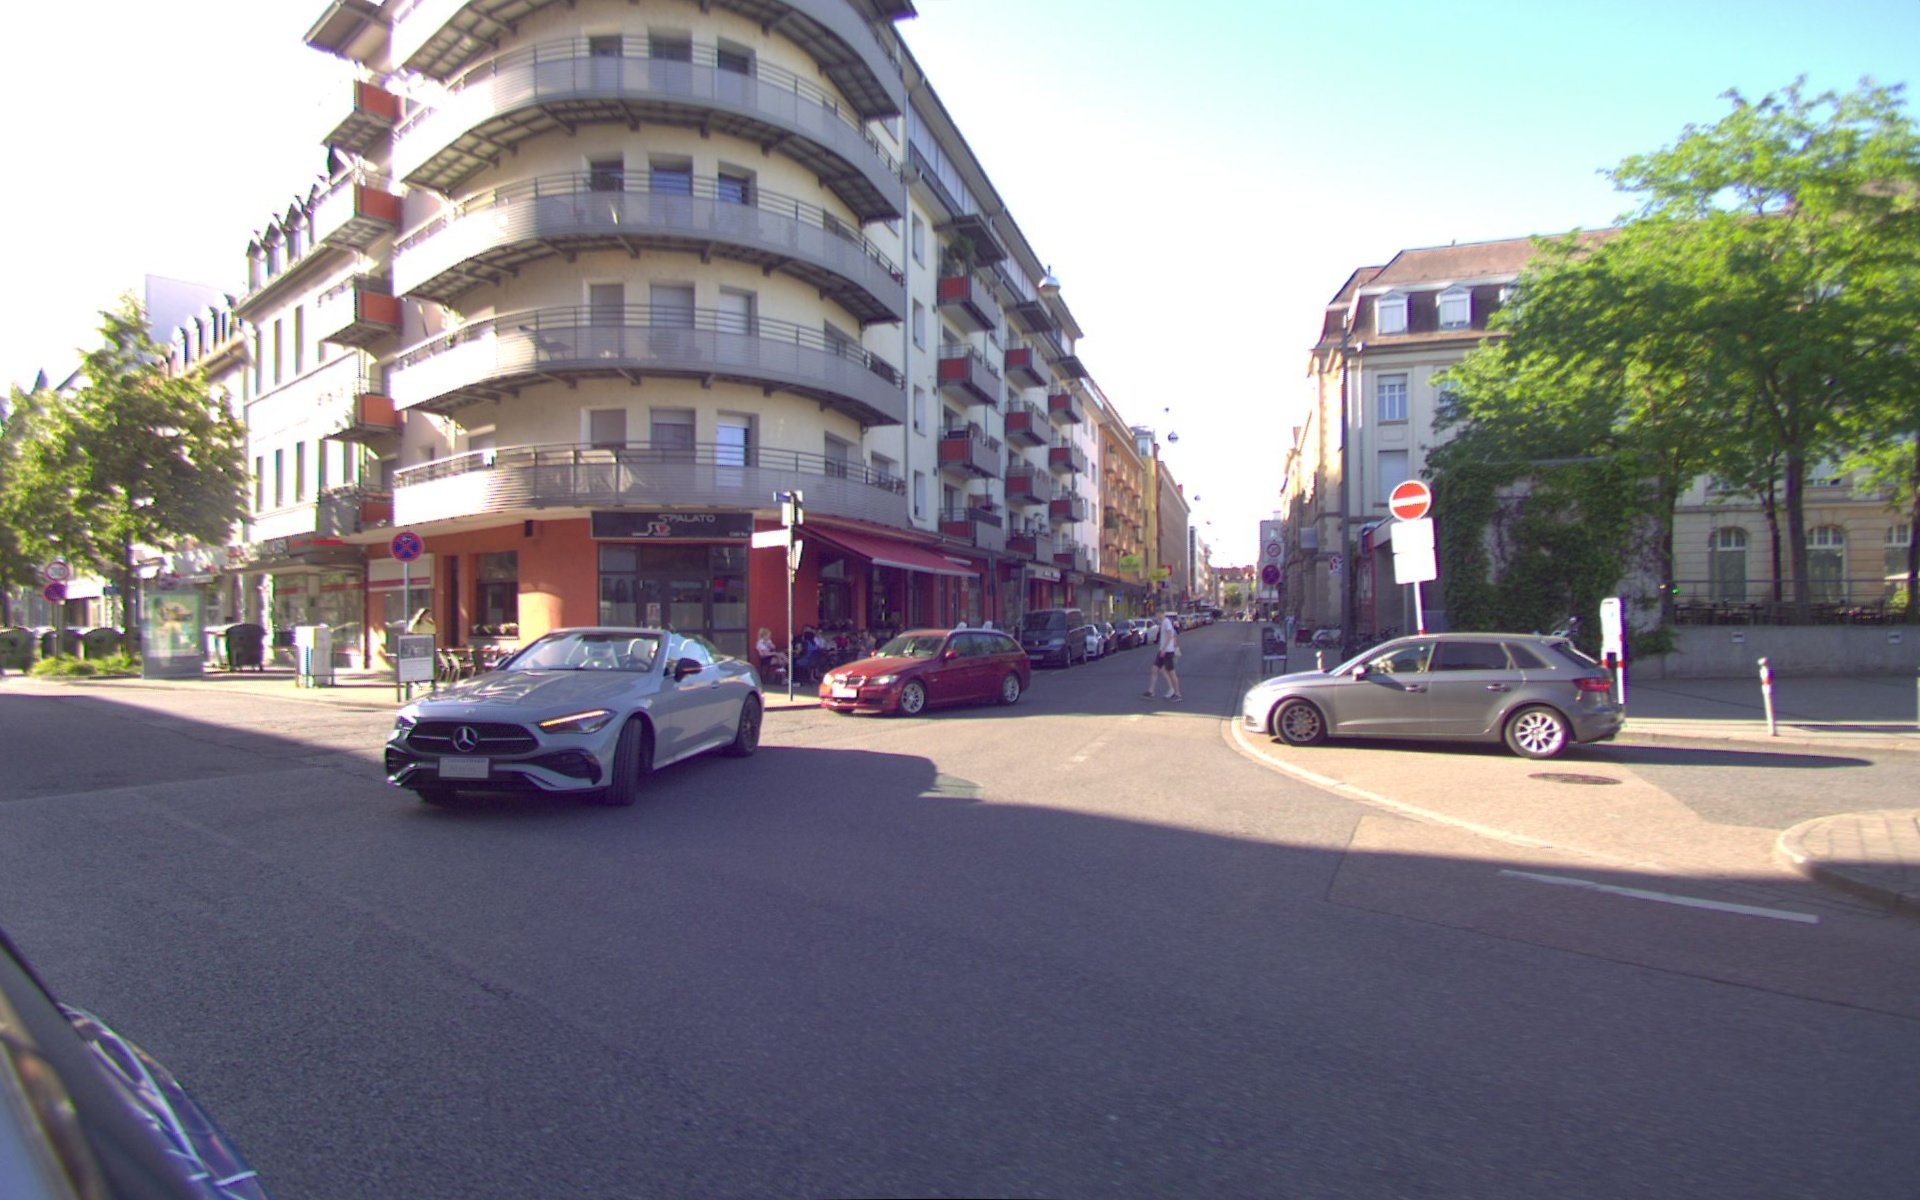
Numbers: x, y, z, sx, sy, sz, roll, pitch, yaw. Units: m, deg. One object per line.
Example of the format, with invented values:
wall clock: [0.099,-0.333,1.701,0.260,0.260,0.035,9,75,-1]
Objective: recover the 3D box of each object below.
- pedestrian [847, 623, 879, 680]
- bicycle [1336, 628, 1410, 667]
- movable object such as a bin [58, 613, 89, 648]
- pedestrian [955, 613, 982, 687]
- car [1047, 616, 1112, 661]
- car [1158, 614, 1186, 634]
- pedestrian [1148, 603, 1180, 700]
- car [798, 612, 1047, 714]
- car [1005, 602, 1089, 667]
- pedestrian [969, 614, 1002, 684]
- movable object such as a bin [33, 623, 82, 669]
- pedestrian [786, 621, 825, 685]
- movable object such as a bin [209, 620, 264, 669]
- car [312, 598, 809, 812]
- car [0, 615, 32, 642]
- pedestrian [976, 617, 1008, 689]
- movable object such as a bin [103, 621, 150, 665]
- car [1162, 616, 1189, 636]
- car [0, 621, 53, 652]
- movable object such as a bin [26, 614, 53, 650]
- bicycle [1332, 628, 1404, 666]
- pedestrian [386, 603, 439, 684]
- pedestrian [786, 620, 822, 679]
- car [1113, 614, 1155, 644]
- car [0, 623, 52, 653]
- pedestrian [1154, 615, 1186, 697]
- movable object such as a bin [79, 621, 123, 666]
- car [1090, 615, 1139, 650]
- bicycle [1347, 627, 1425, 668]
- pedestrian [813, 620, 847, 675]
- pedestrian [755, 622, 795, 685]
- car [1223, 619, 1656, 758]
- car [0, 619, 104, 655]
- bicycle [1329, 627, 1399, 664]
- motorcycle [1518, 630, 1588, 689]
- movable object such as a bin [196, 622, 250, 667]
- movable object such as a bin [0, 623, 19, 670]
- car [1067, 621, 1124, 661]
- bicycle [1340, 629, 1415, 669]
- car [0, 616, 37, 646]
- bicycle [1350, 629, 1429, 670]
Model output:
pedestrian: [-2.350,1.224,24.448,0.688,1.350,0.576,0,-1,-12]
bicycle: [12.220,1.393,30.004,1.945,1.140,0.504,0,-2,12]
movable object such as a bin: [-34.205,1.169,39.042,0.804,1.351,0.747,-1,-2,39]
pedestrian: [0.179,1.045,21.315,0.545,1.547,0.542,0,-1,-1]
car: [4.776,1.504,39.905,1.894,1.672,4.160,0,-2,16]
car: [17.419,1.979,83.028,1.894,1.585,4.160,0,-2,16]
pedestrian: [3.961,0.986,19.657,0.552,1.841,0.586,0,-2,7]
car: [-0.489,1.036,17.725,1.917,1.527,4.678,-1,-2,35]
car: [3.021,1.165,34.330,2.017,2.065,4.327,0,-2,16]
pedestrian: [0.567,1.097,22.650,0.690,1.547,0.575,0,-1,0]
movable object such as a bin: [-29.710,1.500,33.305,1.142,1.483,1.031,-1,-2,39]
pedestrian: [-3.345,1.139,21.915,0.693,1.350,0.573,0,-1,12]
movable object such as a bin: [-21.565,1.305,30.170,1.313,1.415,1.031,-1,-2,40]
car: [-3.194,0.797,9.550,1.978,1.434,5.101,0,-2,10]
car: [-54.815,1.663,56.342,1.788,1.469,4.450,-1,0,38]
pedestrian: [0.690,1.146,22.016,0.677,1.547,0.542,0,-1,0]
movable object such as a bin: [-28.558,1.469,34.694,1.142,1.483,1.031,-1,-2,39]
car: [17.677,2.132,83.022,1.894,1.585,4.160,0,-2,16]
car: [-46.200,1.762,48.653,1.738,1.479,3.710,-1,-1,40]
movable object such as a bin: [-34.816,1.192,38.270,0.804,1.351,0.628,-1,-2,40]
bicycle: [12.334,1.413,30.612,1.945,1.140,0.504,0,-2,12]
pedestrian: [-11.667,0.914,21.579,1.036,1.672,0.658,-1,-2,40]
pedestrian: [-3.617,1.133,23.486,0.693,1.350,0.573,0,-1,12]
car: [9.775,1.641,56.634,1.894,1.585,4.160,0,-2,16]
car: [-47.961,1.895,50.480,1.789,1.439,3.800,-1,-1,42]
pedestrian: [4.219,1.114,20.336,0.576,1.625,0.615,0,-2,7]
movable object such as a bin: [-29.009,1.441,34.172,1.142,1.483,0.954,-1,-1,40]
car: [7.779,1.638,50.739,1.894,1.672,4.160,0,-2,16]
bicycle: [12.069,1.339,28.726,1.945,1.140,0.504,0,-2,12]
pedestrian: [-3.230,1.183,25.221,0.693,1.350,0.573,0,-1,12]
pedestrian: [-4.051,1.155,22.157,0.693,1.350,0.573,0,-1,12]
car: [5.735,1.012,12.435,4.525,1.434,1.734,-2,-2,33]
car: [-40.248,1.600,44.256,1.739,1.479,4.157,-1,-1,43]
bicycle: [12.452,1.398,31.226,1.945,1.140,0.504,0,-2,12]
motorcycle: [12.752,1.259,21.755,1.665,1.217,0.507,1,-2,-29]
movable object such as a bin: [-22.580,1.340,31.007,1.313,1.355,1.031,-1,-2,40]
movable object such as a bin: [-30.799,1.471,32.220,1.451,1.483,1.031,-1,-2,40]
car: [6.075,1.806,44.953,1.894,1.672,4.160,0,-2,16]
bicycle: [12.104,1.404,29.393,1.945,1.140,0.504,0,-2,12]
car: [-50.056,1.619,51.886,1.770,1.497,3.877,-1,-1,42]
bicycle: [11.947,1.368,28.178,1.945,1.140,0.504,0,-2,12]
